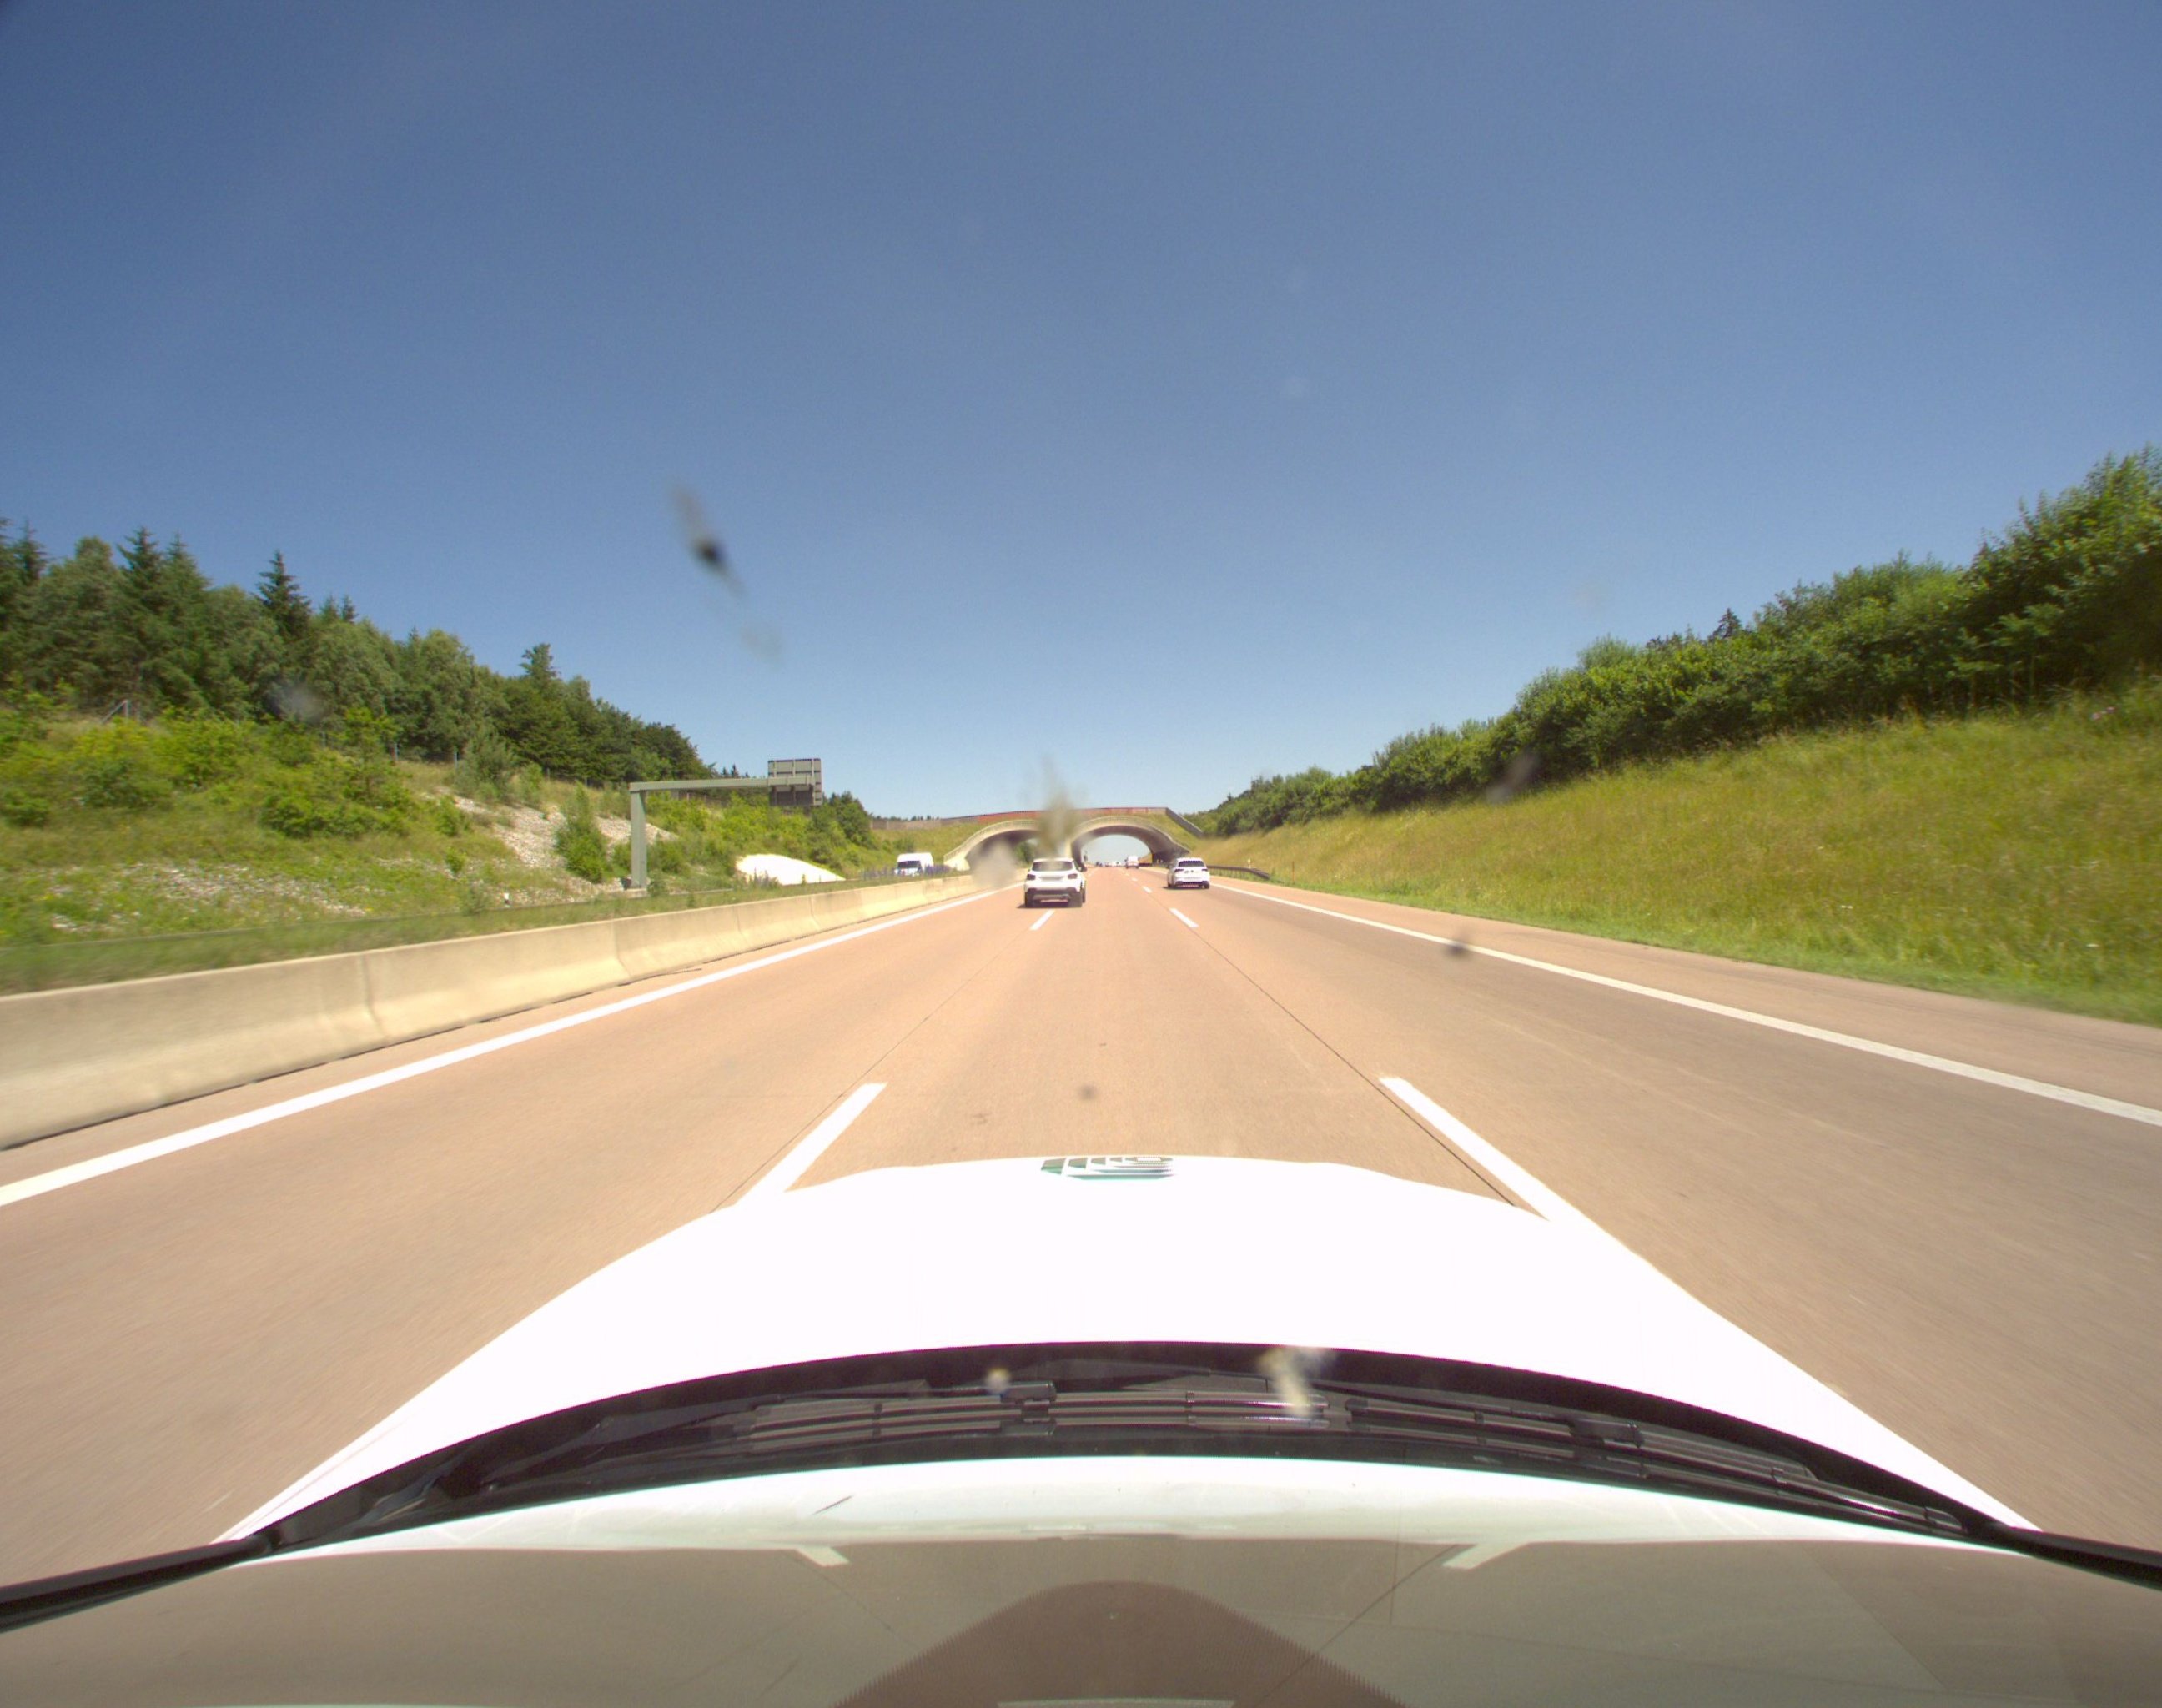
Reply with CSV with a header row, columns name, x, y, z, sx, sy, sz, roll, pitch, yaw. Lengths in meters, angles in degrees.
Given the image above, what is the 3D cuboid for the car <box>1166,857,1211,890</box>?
name,x,y,z,sx,sy,sz,roll,pitch,yaw
car,5.101,0.901,39.090,1.882,1.398,4.004,0,1,4

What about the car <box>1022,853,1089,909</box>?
name,x,y,z,sx,sy,sz,roll,pitch,yaw
car,-0.744,0.809,26.705,1.872,1.607,4.836,-1,0,2

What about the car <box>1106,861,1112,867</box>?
name,x,y,z,sx,sy,sz,roll,pitch,yaw
car,8.354,2.969,243.183,1.883,1.463,4.002,0,0,2

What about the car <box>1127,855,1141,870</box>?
name,x,y,z,sx,sy,sz,roll,pitch,yaw
car,7.994,1.245,123.046,2.101,2.053,4.004,-1,1,4

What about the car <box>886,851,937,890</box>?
name,x,y,z,sx,sy,sz,roll,pitch,yaw
car,-13.935,1.283,67.504,2.400,2.969,7.506,-1,1,2
